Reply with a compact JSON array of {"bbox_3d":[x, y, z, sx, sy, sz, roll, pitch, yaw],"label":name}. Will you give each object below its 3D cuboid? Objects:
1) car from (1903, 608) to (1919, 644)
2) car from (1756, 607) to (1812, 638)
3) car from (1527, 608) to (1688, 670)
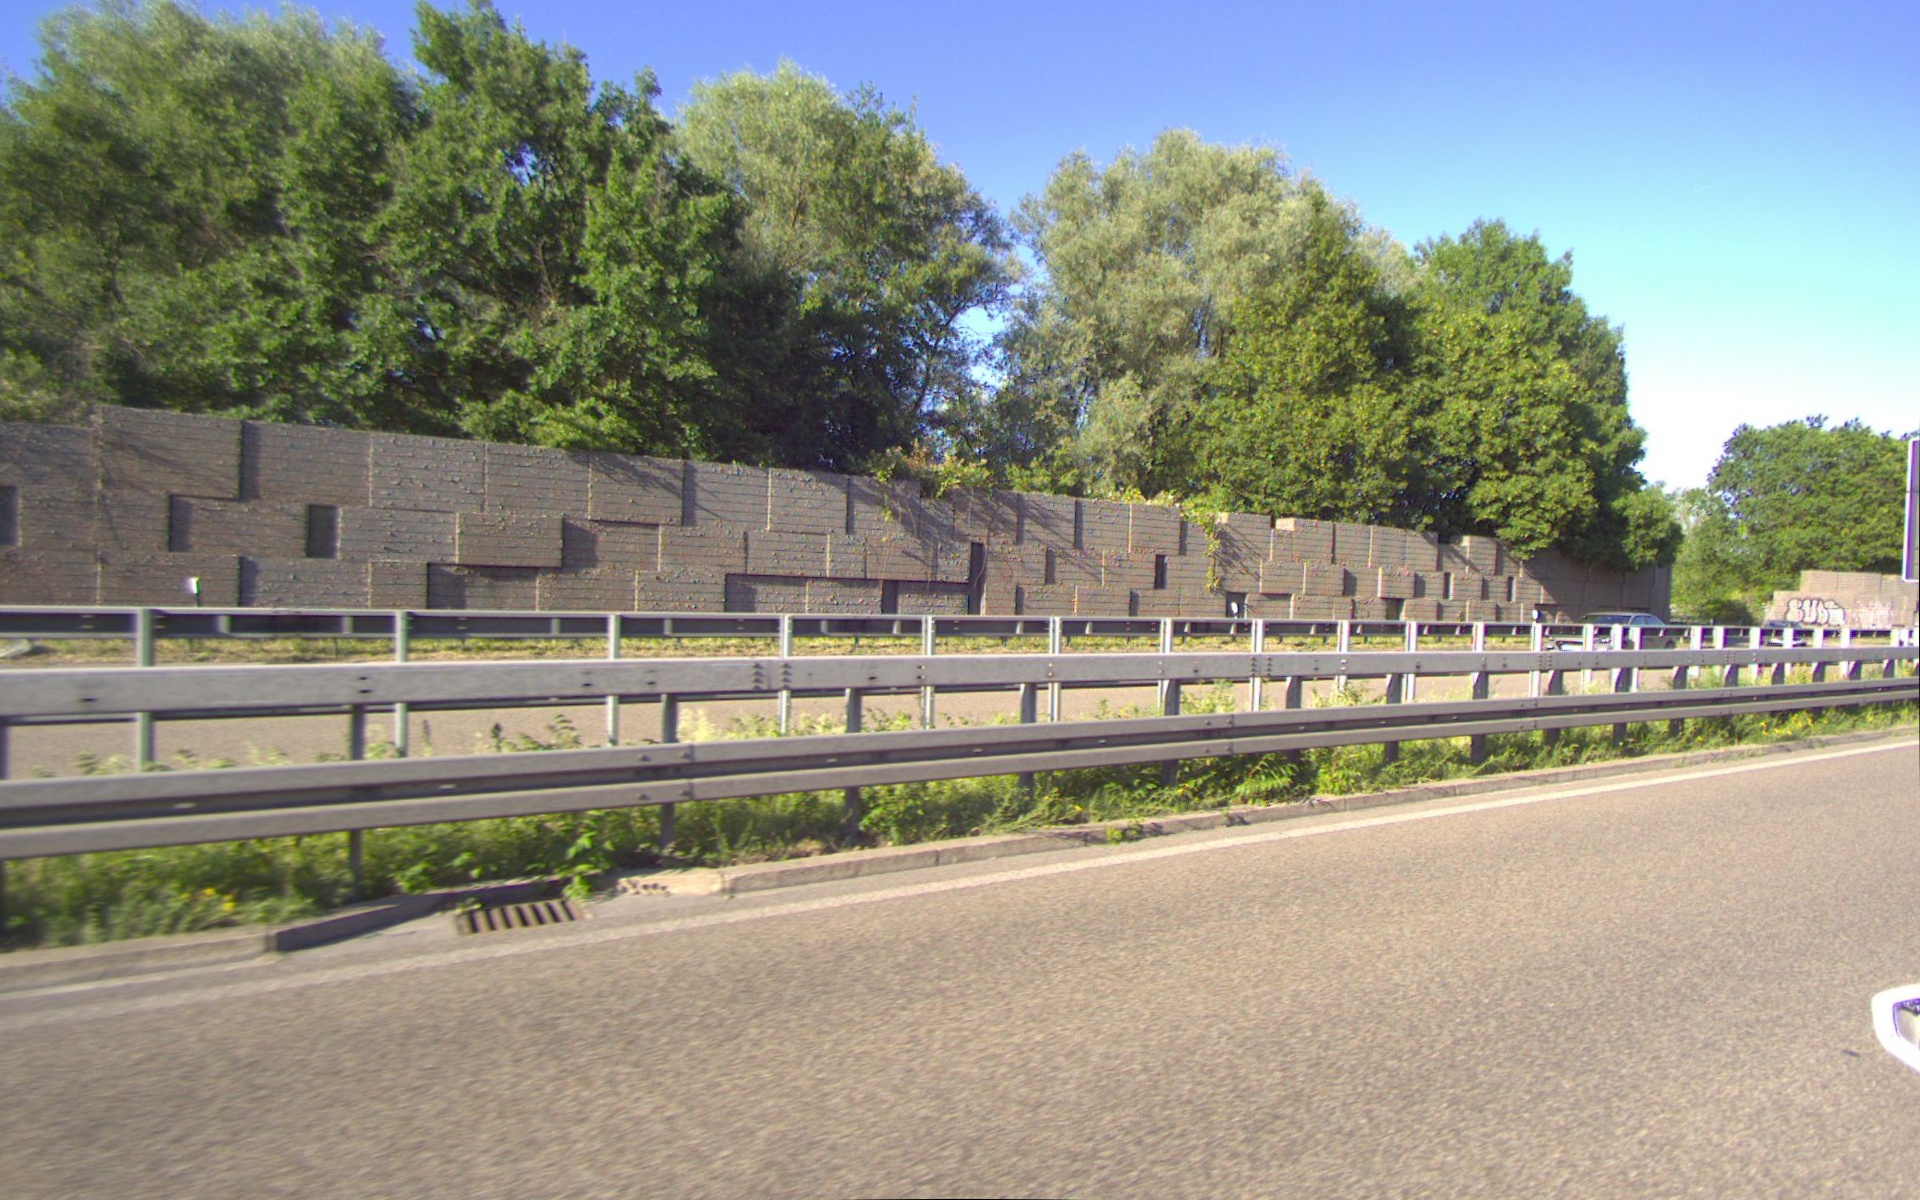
[{"bbox_3d":[45.331,1.224,46.000,4.569,1.617,1.982,0,3,-32],"label":"car"},{"bbox_3d":[43.692,1.172,53.338,1.967,1.406,4.014,4,3,36],"label":"car"},{"bbox_3d":[18.041,1.025,27.954,4.483,1.500,1.982,0,3,-32],"label":"car"}]
